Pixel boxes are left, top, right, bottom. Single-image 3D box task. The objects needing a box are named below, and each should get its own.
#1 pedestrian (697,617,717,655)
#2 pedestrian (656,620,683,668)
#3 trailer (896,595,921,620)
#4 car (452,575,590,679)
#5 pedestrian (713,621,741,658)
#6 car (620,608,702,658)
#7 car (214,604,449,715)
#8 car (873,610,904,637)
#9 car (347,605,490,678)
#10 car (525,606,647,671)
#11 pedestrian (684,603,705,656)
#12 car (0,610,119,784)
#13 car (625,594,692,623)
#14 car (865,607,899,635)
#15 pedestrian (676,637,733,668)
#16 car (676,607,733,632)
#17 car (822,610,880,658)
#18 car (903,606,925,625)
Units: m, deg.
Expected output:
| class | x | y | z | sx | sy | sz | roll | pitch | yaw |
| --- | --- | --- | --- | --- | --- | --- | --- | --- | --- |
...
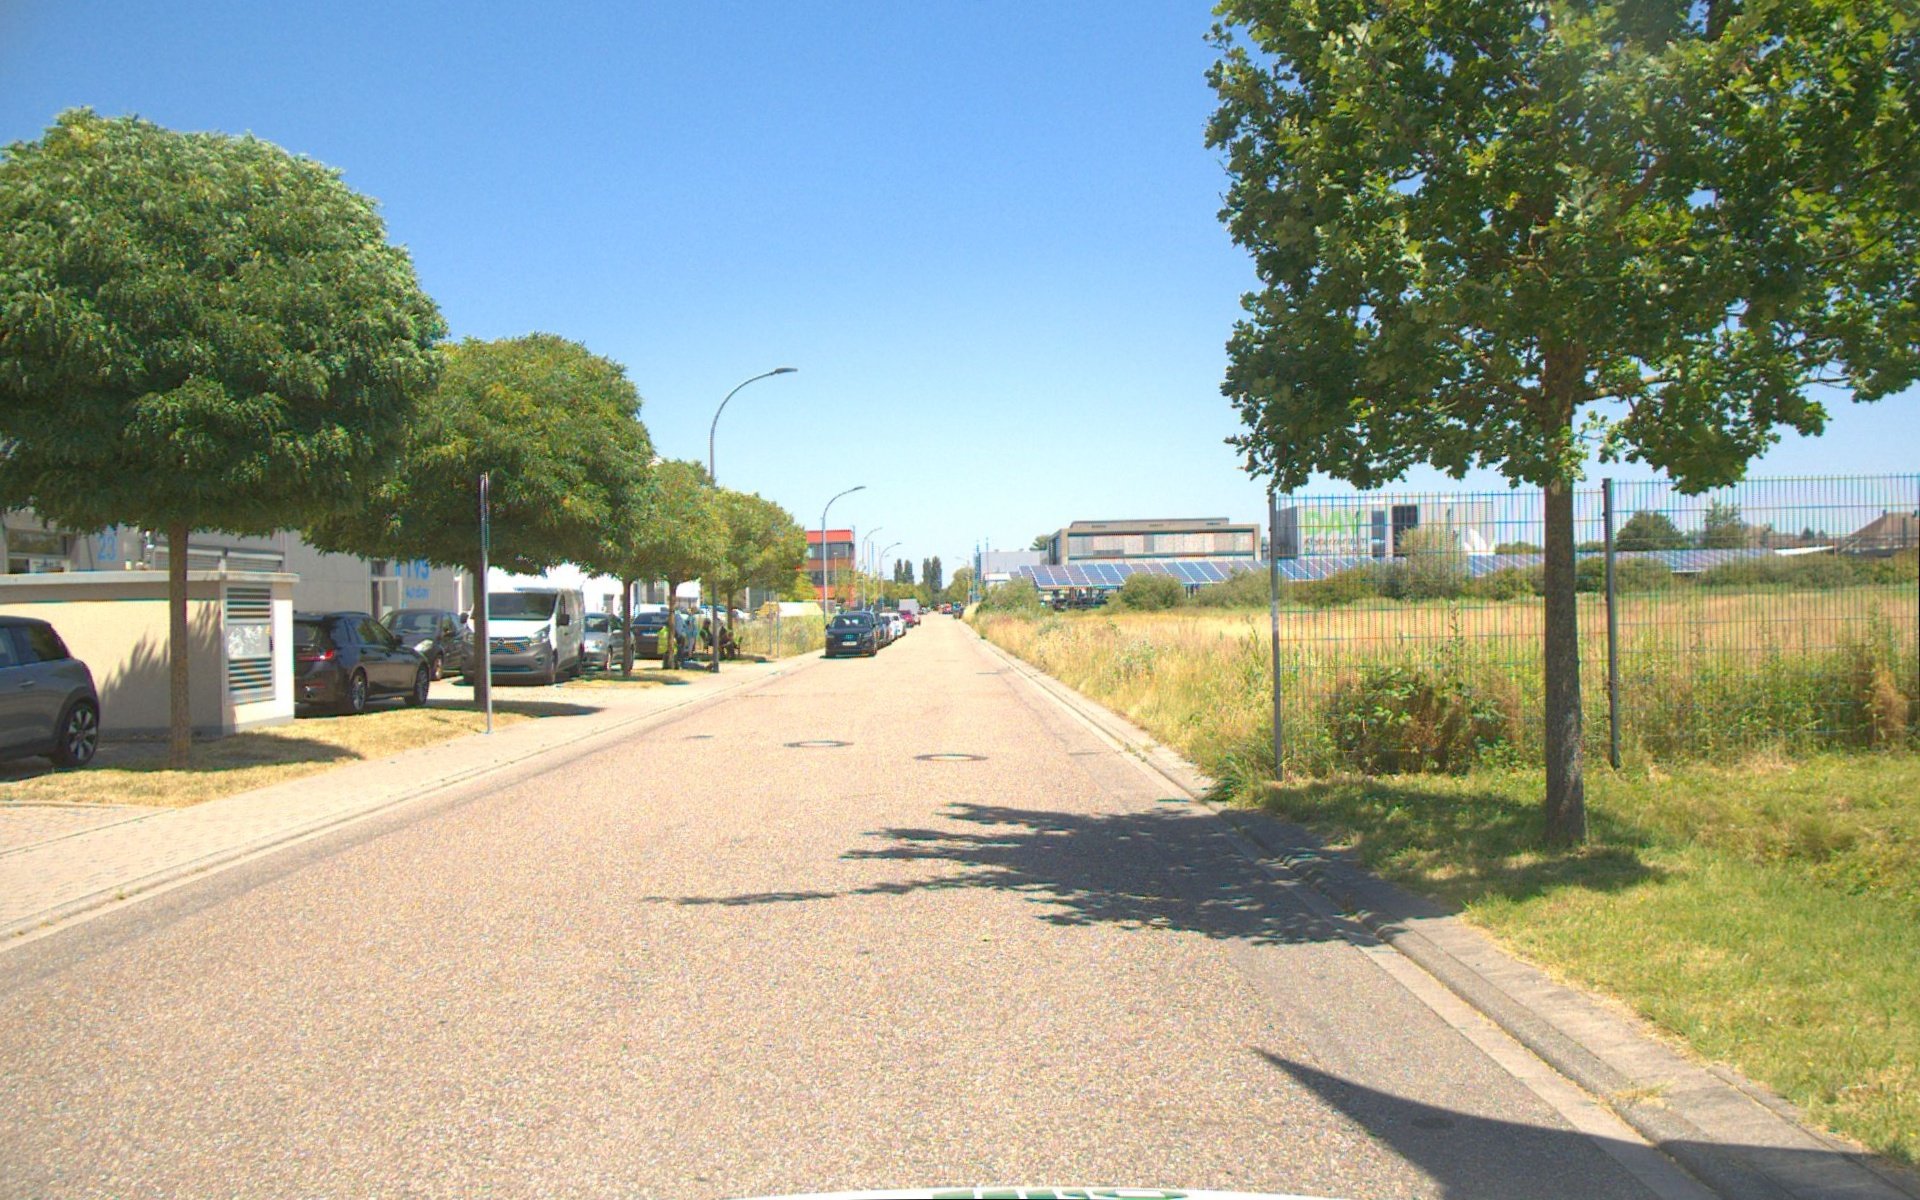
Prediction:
| class | x | y | z | sx | sy | sz | roll | pitch | yaw |
| --- | --- | --- | --- | --- | --- | --- | --- | --- | --- |
| pedestrian | -8.156 | 1.160 | 53.282 | 0.495 | 1.212 | 0.753 | 1 | -1 | 1 |
| pedestrian | -7.340 | 1.118 | 41.747 | 0.468 | 1.170 | 0.555 | 1 | -3 | 9 |
| trailer | -4.741 | 0.685 | 153.794 | 2.156 | 2.175 | 4.284 | -2 | 0 | -1 |
| car | -9.273 | 0.548 | 35.359 | 1.800 | 2.054 | 5.123 | 0 | 0 | -3 |
| pedestrian | -7.309 | 1.233 | 51.885 | 0.735 | 1.118 | 0.647 | 1 | -1 | 3 |
| car | -9.597 | 1.044 | 53.435 | 1.888 | 1.490 | 4.690 | 1 | 0 | -2 |
| car | -9.187 | 0.807 | 24.608 | 1.729 | 1.479 | 4.713 | 0 | 0 | -1 |
| car | -4.456 | 1.466 | 103.054 | 1.750 | 1.547 | 3.982 | -2 | 0 | -1 |
| car | -11.749 | 0.859 | 36.167 | 1.888 | 1.466 | 4.085 | 1 | 0 | -2 |
| car | -9.201 | 0.959 | 41.048 | 1.887 | 1.466 | 4.840 | -2 | -1 | 0 |
| pedestrian | -8.310 | 0.918 | 51.785 | 0.495 | 1.623 | 0.753 | 1 | -1 | 1 |
| car | -9.119 | 0.839 | 14.286 | 1.729 | 1.479 | 3.840 | 0 | 0 | 0 |
| car | -21.872 | 0.628 | 120.211 | 4.436 | 1.977 | 2.031 | -2 | 0 | 0 |
| car | -4.319 | 1.142 | 92.037 | 1.750 | 1.547 | 3.982 | 0 | 0 | -1 |
| pedestrian | -6.616 | 1.359 | 42.818 | 1.330 | 0.762 | 0.753 | 1 | 0 | 1 |
| car | -21.668 | 1.637 | 140.353 | 4.436 | 1.977 | 2.031 | -2 | 0 | 0 |
| car | -3.908 | 1.198 | 59.800 | 1.888 | 1.595 | 4.188 | -2 | 0 | -2 |
| car | -3.924 | 1.335 | 142.352 | 1.750 | 1.547 | 3.981 | -2 | 0 | -1 |
